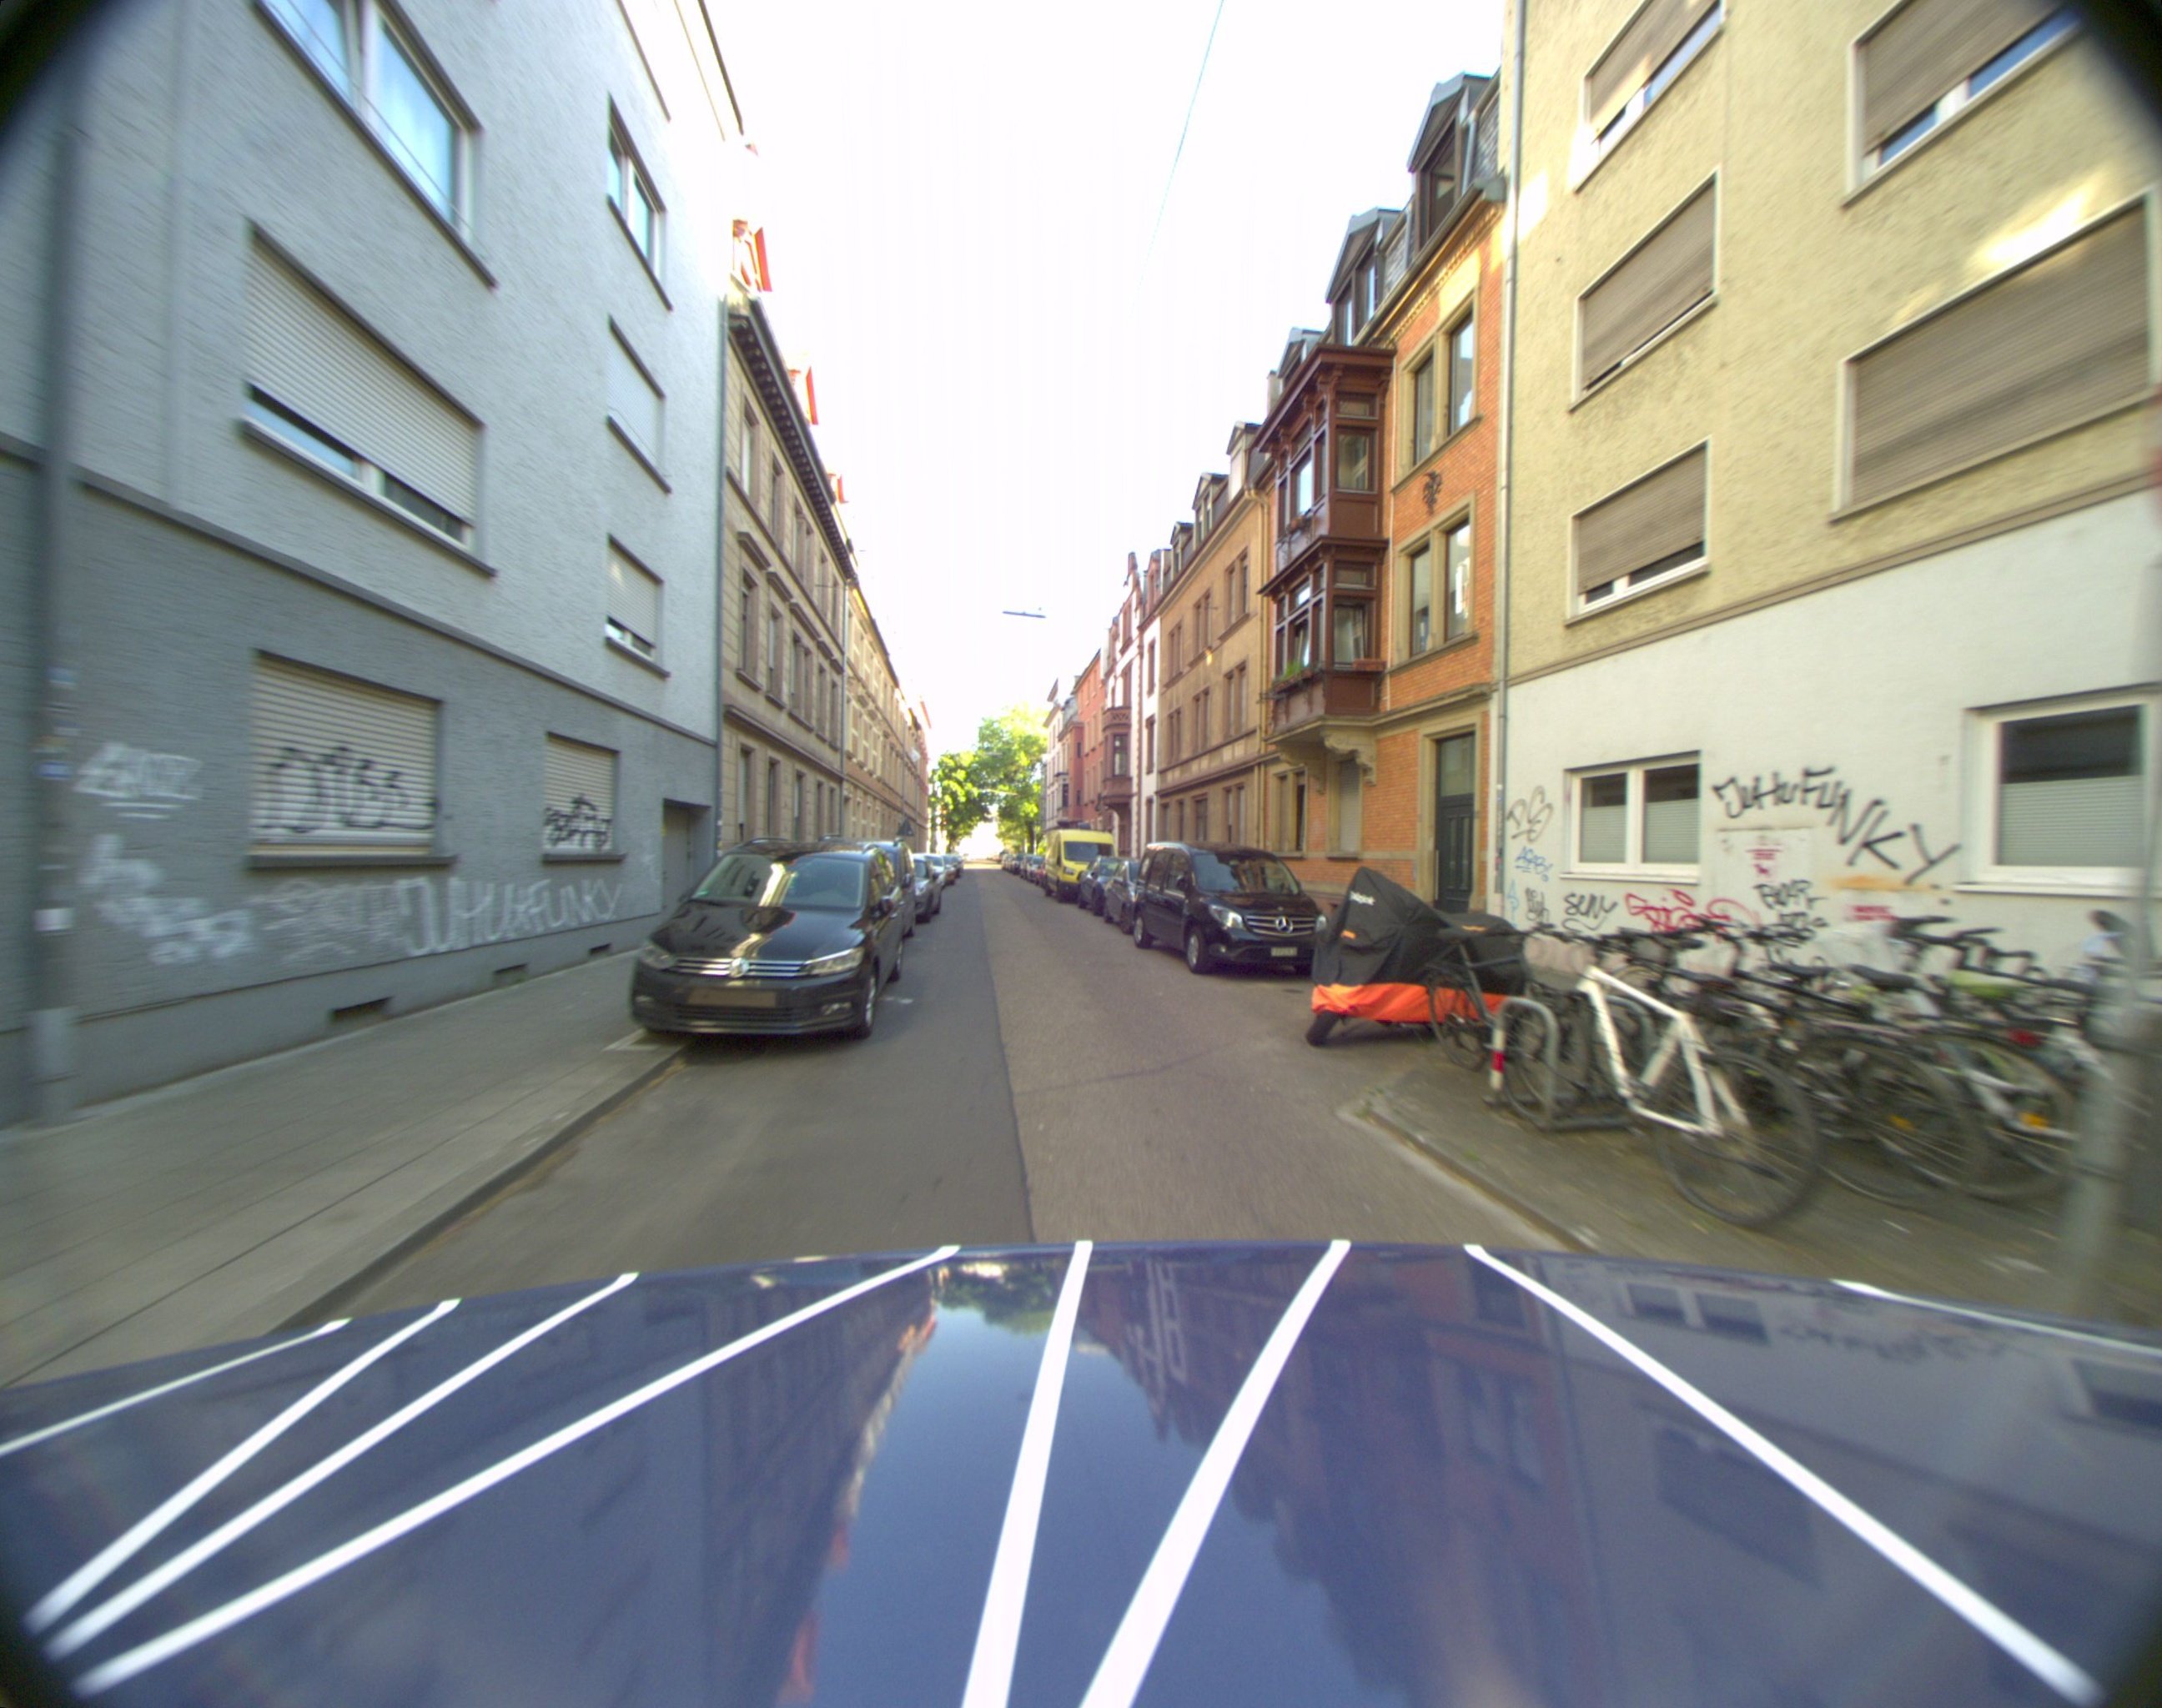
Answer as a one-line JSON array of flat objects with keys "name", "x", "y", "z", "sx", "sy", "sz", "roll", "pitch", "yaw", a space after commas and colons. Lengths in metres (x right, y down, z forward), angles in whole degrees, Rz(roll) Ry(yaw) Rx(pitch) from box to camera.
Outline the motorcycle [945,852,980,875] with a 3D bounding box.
[{"name": "motorcycle", "x": -8.232, "y": 0.642, "z": 52.968, "sx": 2.230, "sy": 1.528, "sz": 0.888, "roll": -1, "pitch": 1, "yaw": -34}]

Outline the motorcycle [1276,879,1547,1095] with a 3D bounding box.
[{"name": "motorcycle", "x": 2.887, "y": 0.985, "z": 6.490, "sx": 2.525, "sy": 1.473, "sz": 0.901, "roll": 0, "pitch": 1, "yaw": -35}]

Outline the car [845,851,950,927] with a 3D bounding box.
[{"name": "car", "x": -4.180, "y": 0.733, "z": 17.954, "sx": 1.759, "sy": 1.444, "sz": 4.285, "roll": 5, "pitch": -1, "yaw": -6}]

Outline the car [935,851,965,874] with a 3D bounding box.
[{"name": "car", "x": -8.498, "y": 0.543, "z": 49.535, "sx": 1.783, "sy": 1.388, "sz": 4.314, "roll": 1, "pitch": 0, "yaw": -7}]

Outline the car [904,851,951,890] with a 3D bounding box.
[{"name": "car", "x": -6.808, "y": 0.704, "z": 34.062, "sx": 1.726, "sy": 1.472, "sz": 4.079, "roll": 5, "pitch": 0, "yaw": -9}]

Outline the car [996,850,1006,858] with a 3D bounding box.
[{"name": "car", "x": -15.977, "y": 0.005, "z": 151.426, "sx": 1.756, "sy": 1.464, "sz": 3.997, "roll": 0, "pitch": 1, "yaw": -8}]

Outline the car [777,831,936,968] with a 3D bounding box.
[{"name": "car", "x": -3.493, "y": 0.632, "z": 12.687, "sx": 1.759, "sy": 1.775, "sz": 4.720, "roll": 4, "pitch": 0, "yaw": -8}]

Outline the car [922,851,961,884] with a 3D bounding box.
[{"name": "car", "x": -7.152, "y": 0.648, "z": 39.031, "sx": 1.760, "sy": 1.437, "sz": 4.065, "roll": 4, "pitch": 0, "yaw": -10}]

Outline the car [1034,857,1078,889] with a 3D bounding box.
[{"name": "car", "x": -1.275, "y": 0.895, "z": 37.350, "sx": 1.623, "sy": 1.319, "sz": 3.609, "roll": 4, "pitch": 0, "yaw": -9}]

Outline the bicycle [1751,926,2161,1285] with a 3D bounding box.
[{"name": "bicycle", "x": 4.072, "y": 1.004, "z": 3.484, "sx": 0.295, "sy": 1.220, "sz": 1.698, "roll": 1, "pitch": -1, "yaw": -9}]

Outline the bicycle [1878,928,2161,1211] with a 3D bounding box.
[{"name": "bicycle", "x": 5.147, "y": 1.039, "z": 3.703, "sx": 0.400, "sy": 1.220, "sz": 1.814, "roll": 1, "pitch": -1, "yaw": -11}]

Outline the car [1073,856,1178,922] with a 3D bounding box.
[{"name": "car", "x": 1.067, "y": 0.865, "z": 20.421, "sx": 2.000, "sy": 1.543, "sz": 3.996, "roll": 2, "pitch": 0, "yaw": -9}]

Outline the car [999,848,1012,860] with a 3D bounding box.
[{"name": "car", "x": -13.018, "y": 0.006, "z": 130.823, "sx": 2.000, "sy": 1.946, "sz": 5.038, "roll": 3, "pitch": 0, "yaw": -8}]

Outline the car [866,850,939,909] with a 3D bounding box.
[{"name": "car", "x": -5.413, "y": 0.715, "z": 23.522, "sx": 1.760, "sy": 1.509, "sz": 4.439, "roll": 5, "pitch": -1, "yaw": -9}]

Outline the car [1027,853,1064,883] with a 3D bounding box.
[{"name": "car", "x": -2.066, "y": 0.755, "z": 43.110, "sx": 1.699, "sy": 1.465, "sz": 3.916, "roll": 4, "pitch": 0, "yaw": -8}]

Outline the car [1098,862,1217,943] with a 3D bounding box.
[{"name": "car", "x": 1.485, "y": 0.937, "z": 16.103, "sx": 1.682, "sy": 1.441, "sz": 3.641, "roll": 0, "pitch": 0, "yaw": -8}]

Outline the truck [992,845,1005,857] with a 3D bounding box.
[{"name": "truck", "x": -18.314, "y": -0.688, "z": 169.037, "sx": 2.397, "sy": 2.641, "sz": 7.086, "roll": 1, "pitch": 0, "yaw": -10}]

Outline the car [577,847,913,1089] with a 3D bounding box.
[{"name": "car", "x": -2.810, "y": 0.785, "z": 7.503, "sx": 1.907, "sy": 1.630, "sz": 4.386, "roll": 1, "pitch": 1, "yaw": -8}]

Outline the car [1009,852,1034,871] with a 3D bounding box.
[{"name": "car", "x": -4.972, "y": 0.608, "z": 63.051, "sx": 1.648, "sy": 1.447, "sz": 3.835, "roll": 4, "pitch": 0, "yaw": -9}]

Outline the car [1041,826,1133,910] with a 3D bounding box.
[{"name": "car", "x": 0.050, "y": 0.417, "z": 26.403, "sx": 2.182, "sy": 2.493, "sz": 5.873, "roll": 3, "pitch": 0, "yaw": -8}]

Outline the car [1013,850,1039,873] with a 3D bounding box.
[{"name": "car", "x": -4.233, "y": 0.541, "z": 57.921, "sx": 1.767, "sy": 1.608, "sz": 4.186, "roll": 1, "pitch": 0, "yaw": -7}]

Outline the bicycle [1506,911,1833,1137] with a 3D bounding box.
[{"name": "bicycle", "x": 3.966, "y": 1.060, "z": 5.358, "sx": 0.548, "sy": 1.149, "sz": 1.869, "roll": 1, "pitch": 1, "yaw": -13}]

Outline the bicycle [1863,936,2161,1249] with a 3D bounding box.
[{"name": "bicycle", "x": 4.741, "y": 1.057, "z": 3.291, "sx": 0.400, "sy": 1.220, "sz": 2.029, "roll": 1, "pitch": -1, "yaw": -9}]

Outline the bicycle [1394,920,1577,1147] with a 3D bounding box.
[{"name": "bicycle", "x": 2.529, "y": 1.061, "z": 4.893, "sx": 0.377, "sy": 1.149, "sz": 1.290, "roll": 1, "pitch": 1, "yaw": -4}]

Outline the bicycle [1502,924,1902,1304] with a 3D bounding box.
[{"name": "bicycle", "x": 2.628, "y": 0.984, "z": 3.442, "sx": 0.400, "sy": 1.220, "sz": 1.504, "roll": 1, "pitch": -1, "yaw": -9}]

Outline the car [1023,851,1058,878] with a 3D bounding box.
[{"name": "car", "x": -2.628, "y": 0.618, "z": 48.442, "sx": 1.787, "sy": 1.596, "sz": 4.065, "roll": 1, "pitch": 0, "yaw": -9}]

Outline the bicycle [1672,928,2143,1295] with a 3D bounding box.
[{"name": "bicycle", "x": 3.673, "y": 1.024, "z": 3.585, "sx": 0.364, "sy": 1.220, "sz": 1.552, "roll": 1, "pitch": -1, "yaw": -9}]

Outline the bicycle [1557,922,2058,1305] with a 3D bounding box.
[{"name": "bicycle", "x": 3.198, "y": 1.009, "z": 3.652, "sx": 0.400, "sy": 1.220, "sz": 1.872, "roll": 1, "pitch": -1, "yaw": -9}]

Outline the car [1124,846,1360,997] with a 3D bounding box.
[{"name": "car", "x": 2.053, "y": 0.781, "z": 11.137, "sx": 1.825, "sy": 1.756, "sz": 4.331, "roll": 1, "pitch": 0, "yaw": -11}]

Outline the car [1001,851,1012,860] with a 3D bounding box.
[{"name": "car", "x": -12.318, "y": 0.252, "z": 125.390, "sx": 1.732, "sy": 1.455, "sz": 3.841, "roll": 2, "pitch": 0, "yaw": -8}]
